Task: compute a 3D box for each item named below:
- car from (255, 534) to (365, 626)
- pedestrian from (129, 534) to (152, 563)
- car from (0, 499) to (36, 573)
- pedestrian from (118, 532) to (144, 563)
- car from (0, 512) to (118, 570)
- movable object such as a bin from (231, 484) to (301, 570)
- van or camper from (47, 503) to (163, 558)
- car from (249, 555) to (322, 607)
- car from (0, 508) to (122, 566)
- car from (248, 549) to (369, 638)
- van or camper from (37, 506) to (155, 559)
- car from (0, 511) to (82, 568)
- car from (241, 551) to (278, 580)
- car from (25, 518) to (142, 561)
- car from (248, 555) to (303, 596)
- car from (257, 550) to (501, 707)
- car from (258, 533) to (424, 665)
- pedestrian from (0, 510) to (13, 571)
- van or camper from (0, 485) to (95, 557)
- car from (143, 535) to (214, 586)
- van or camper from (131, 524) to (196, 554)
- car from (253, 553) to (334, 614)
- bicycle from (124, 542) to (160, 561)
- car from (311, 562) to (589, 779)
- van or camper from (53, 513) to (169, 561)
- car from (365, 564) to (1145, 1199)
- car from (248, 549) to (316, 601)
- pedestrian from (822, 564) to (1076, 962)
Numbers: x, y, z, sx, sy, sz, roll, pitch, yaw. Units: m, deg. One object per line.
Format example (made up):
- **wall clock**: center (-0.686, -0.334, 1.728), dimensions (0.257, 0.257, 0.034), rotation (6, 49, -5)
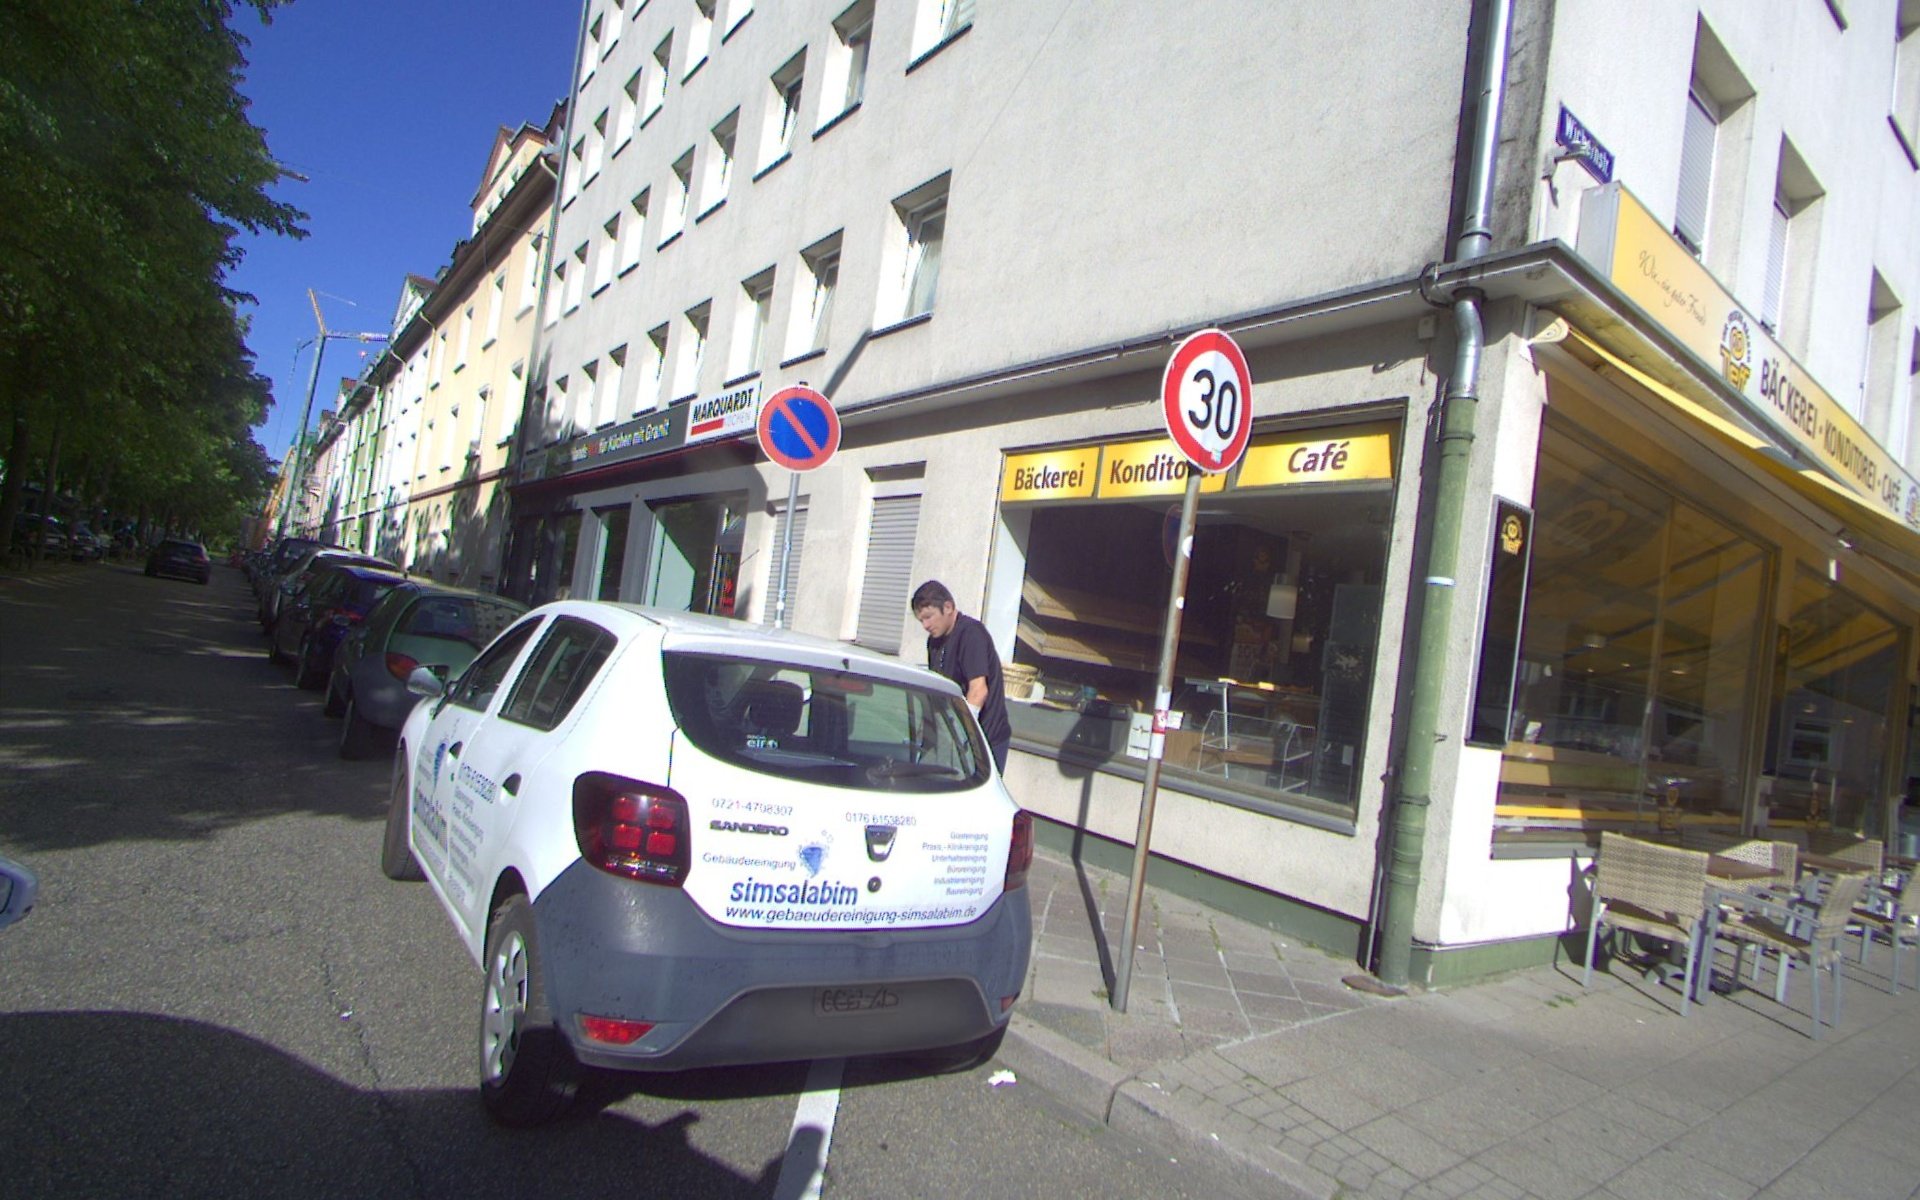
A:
- **car**: center (-16.914, -0.545, 26.062), dimensions (1.940, 1.921, 4.800), rotation (10, -3, -36)
- **pedestrian**: center (-44.142, -2.764, 54.198), dimensions (0.607, 1.472, 0.518), rotation (8, -2, -13)
- **car**: center (-27.583, -2.079, 26.269), dimensions (4.452, 1.884, 2.079), rotation (9, -3, -11)
- **pedestrian**: center (-44.142, -2.782, 53.552), dimensions (0.700, 1.472, 0.595), rotation (8, -2, -13)
- **car**: center (-33.685, -2.246, 36.602), dimensions (4.346, 1.477, 1.718), rotation (9, -4, -4)
- **movable object such as a bin**: center (-61.177, -6.369, 88.726), dimensions (3.428, 6.832, 2.369), rotation (8, -2, -4)
- **van or camper**: center (-69.412, -5.598, 81.782), dimensions (6.565, 3.277, 2.494), rotation (8, -2, -8)
- **car**: center (-23.204, -0.675, 34.534), dimensions (1.544, 1.409, 3.819), rotation (10, -4, -40)
- **car**: center (-37.677, -2.620, 41.640), dimensions (4.077, 1.697, 1.758), rotation (9, -3, -8)
- **car**: center (-14.136, -0.195, 21.724), dimensions (1.754, 1.516, 4.197), rotation (10, -4, -37)
- **van or camper**: center (-61.396, -4.753, 71.602), dimensions (5.786, 2.667, 2.254), rotation (8, -2, -7)
- **car**: center (-30.817, -2.130, 31.698), dimensions (4.411, 1.471, 1.788), rotation (9, -3, -5)
- **car**: center (-48.662, -2.433, 69.827), dimensions (1.808, 1.692, 4.629), rotation (10, -3, -36)
- **car**: center (-46.445, -3.195, 53.392), dimensions (4.258, 1.440, 1.674), rotation (9, -3, -10)
- **car**: center (-30.400, -1.123, 44.608), dimensions (1.715, 1.448, 4.118), rotation (10, -4, -36)
- **car**: center (-7.594, 0.285, 12.924), dimensions (1.797, 1.479, 4.391), rotation (10, -4, -40)
- **car**: center (-10.680, -0.076, 17.197), dimensions (1.755, 1.772, 4.464), rotation (10, -3, -38)
- **pedestrian**: center (-22.709, -1.448, 23.163), dimensions (0.740, 1.412, 0.929), rotation (8, -2, -5)
- **van or camper**: center (-48.043, -4.249, 50.050), dimensions (7.129, 2.962, 2.312), rotation (8, -2, -10)
- **car**: center (-28.479, -1.457, 36.726), dimensions (1.789, 1.520, 3.550), rotation (9, -3, -37)
- **van or camper**: center (-92.059, -7.051, 116.349), dimensions (5.256, 2.502, 2.294), rotation (8, -2, -4)
- **car**: center (-20.254, -0.530, 30.518), dimensions (1.615, 1.514, 3.558), rotation (10, -4, -38)
- **bicycle**: center (-54.501, -3.219, 67.034), dimensions (0.502, 1.017, 1.726), rotation (7, -3, 24)
- **car**: center (-4.810, 0.537, 9.215), dimensions (1.589, 1.479, 3.639), rotation (10, -3, -35)
- **van or camper**: center (-58.031, -4.263, 68.886), dimensions (5.429, 2.301, 2.217), rotation (9, -2, -13)
- **car**: center (-1.322, 0.756, 4.372), dimensions (1.710, 1.514, 3.986), rotation (10, -3, -35)
- **car**: center (-26.669, -1.011, 39.538), dimensions (1.716, 1.704, 4.115), rotation (10, -3, -38)
- **pedestrian**: center (-0.065, 0.753, 4.900), dimensions (0.754, 1.741, 0.740), rotation (9, -2, -30)
